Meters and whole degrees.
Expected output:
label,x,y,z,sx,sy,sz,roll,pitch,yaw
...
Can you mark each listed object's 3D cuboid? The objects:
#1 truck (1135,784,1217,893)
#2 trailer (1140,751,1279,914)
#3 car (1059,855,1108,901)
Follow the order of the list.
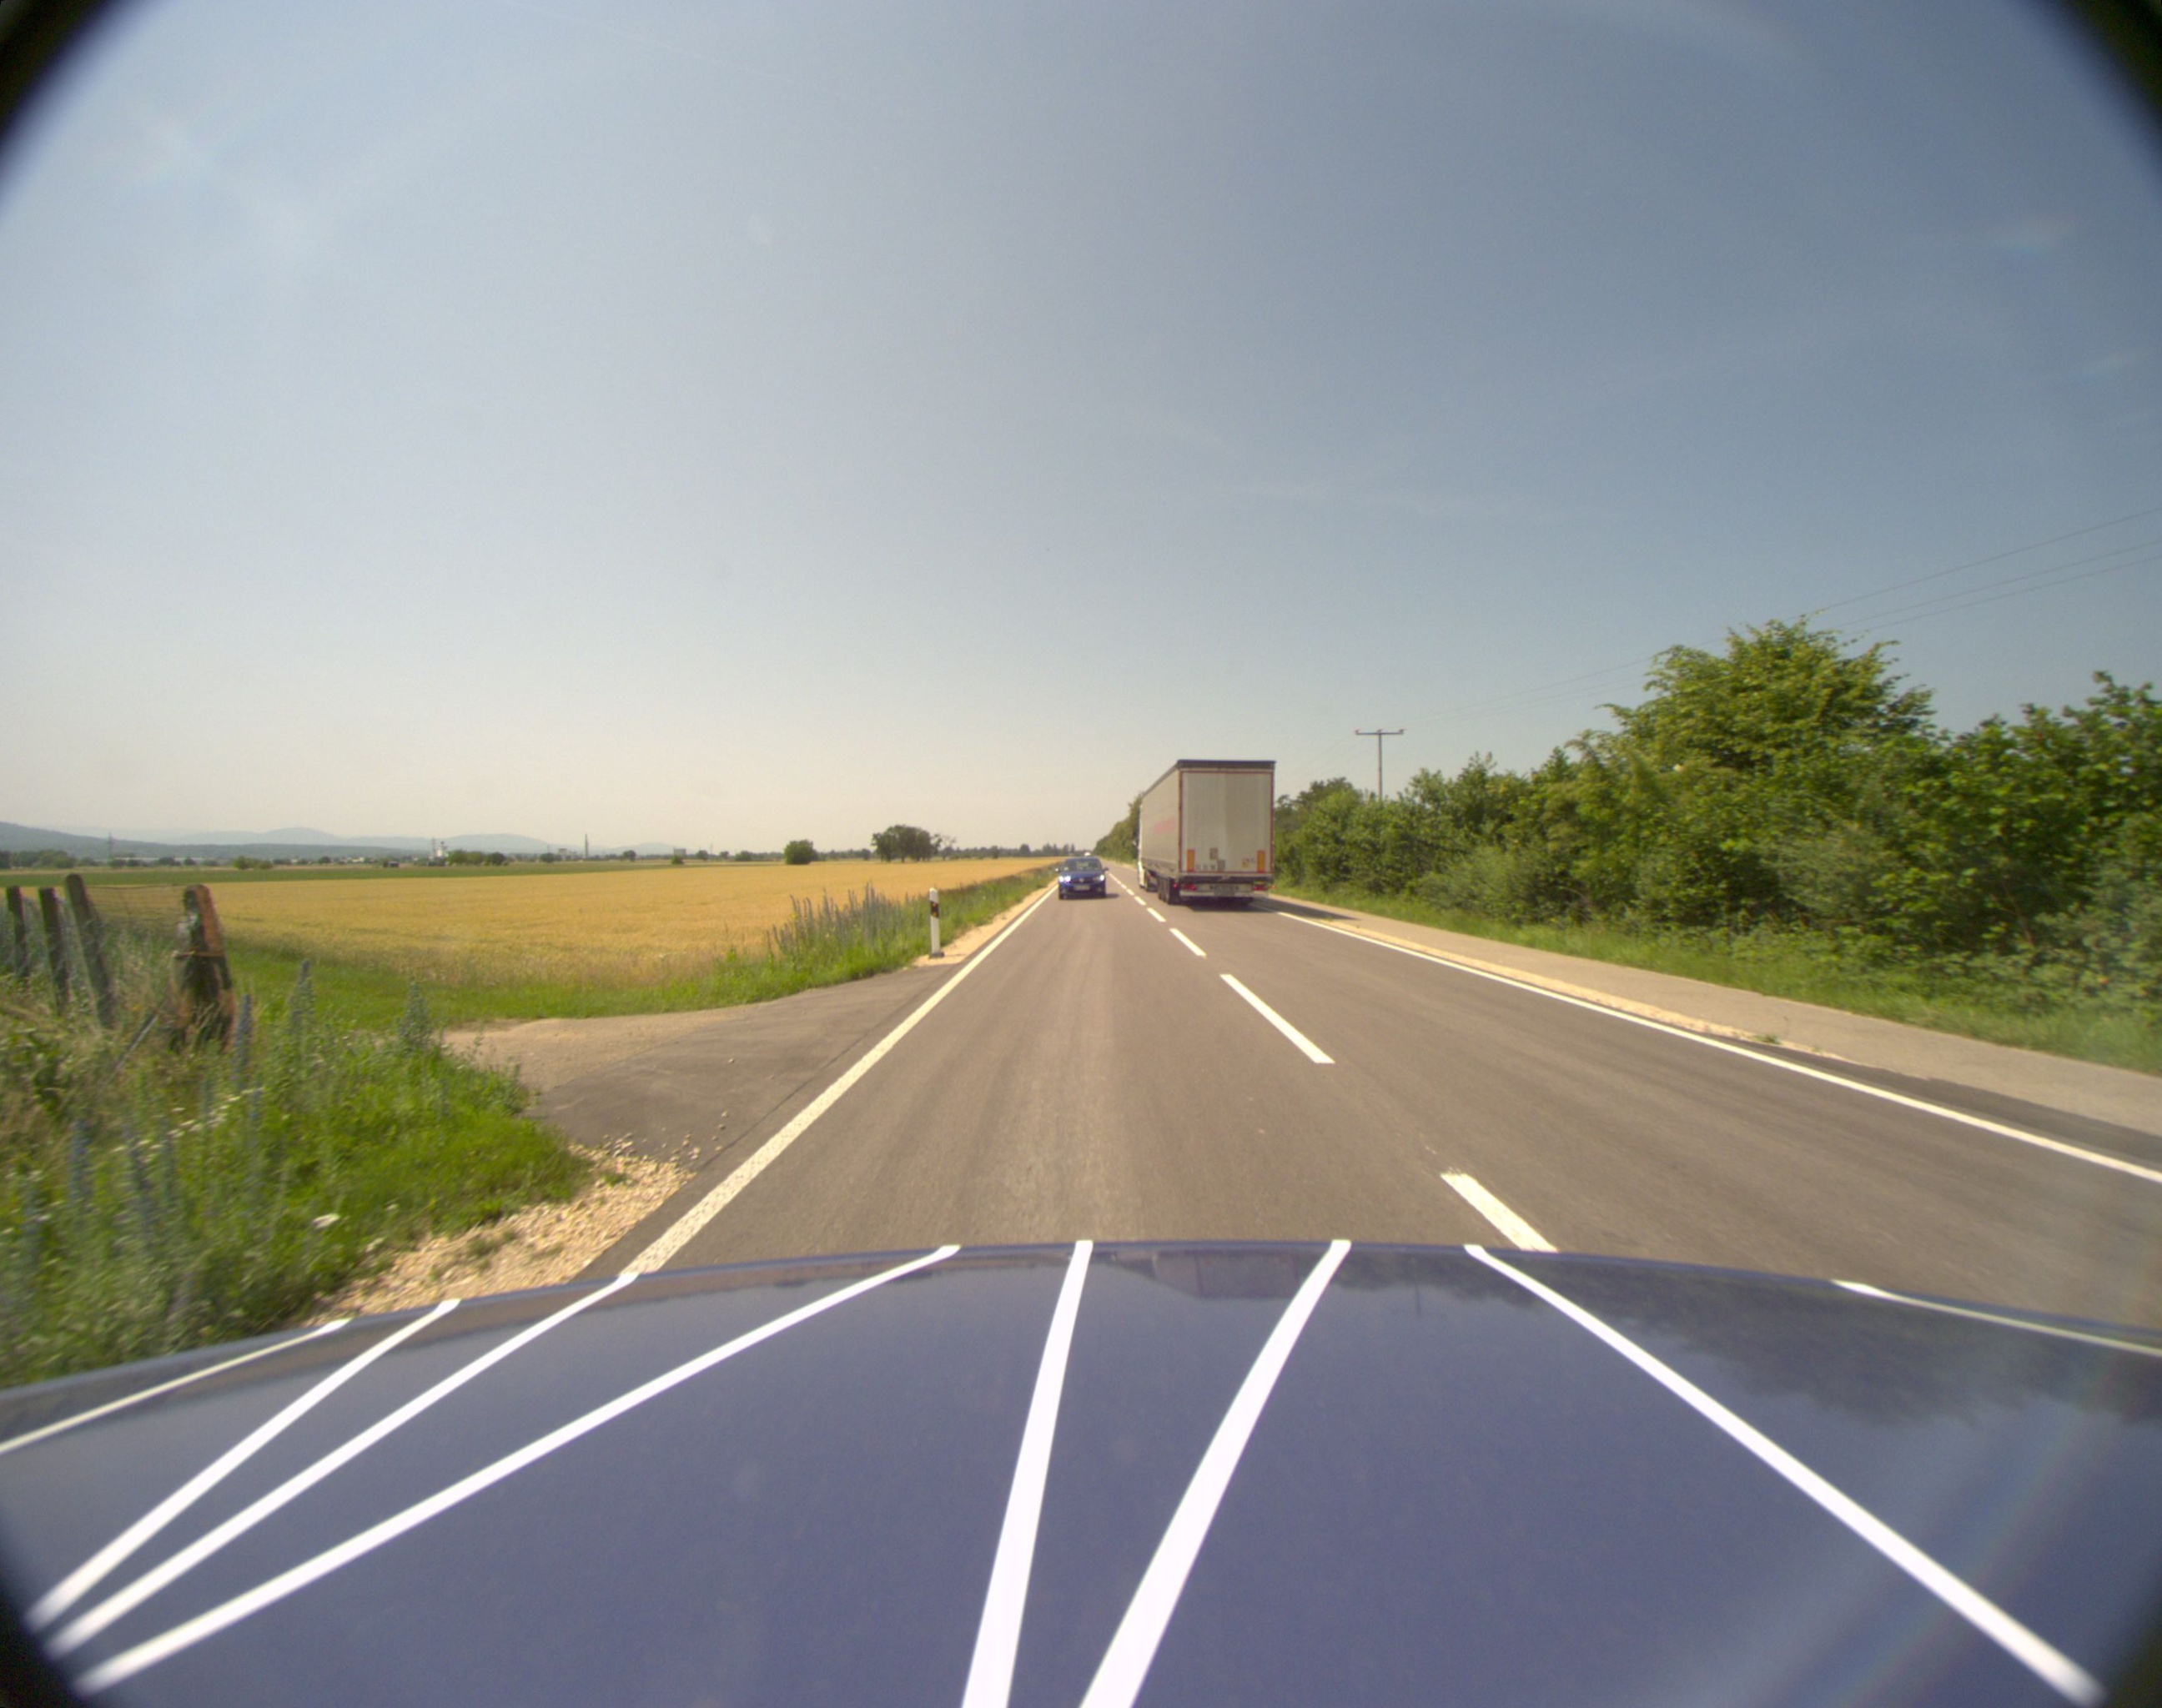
label,x,y,z,sx,sy,sz,roll,pitch,yaw
truck,3.984,-0.611,33.396,2.723,4.241,7.389,1,0,1
trailer,3.911,-0.586,26.831,2.723,4.241,13.809,1,0,1
car,0.098,0.851,28.823,1.662,1.508,4.000,-2,0,0
